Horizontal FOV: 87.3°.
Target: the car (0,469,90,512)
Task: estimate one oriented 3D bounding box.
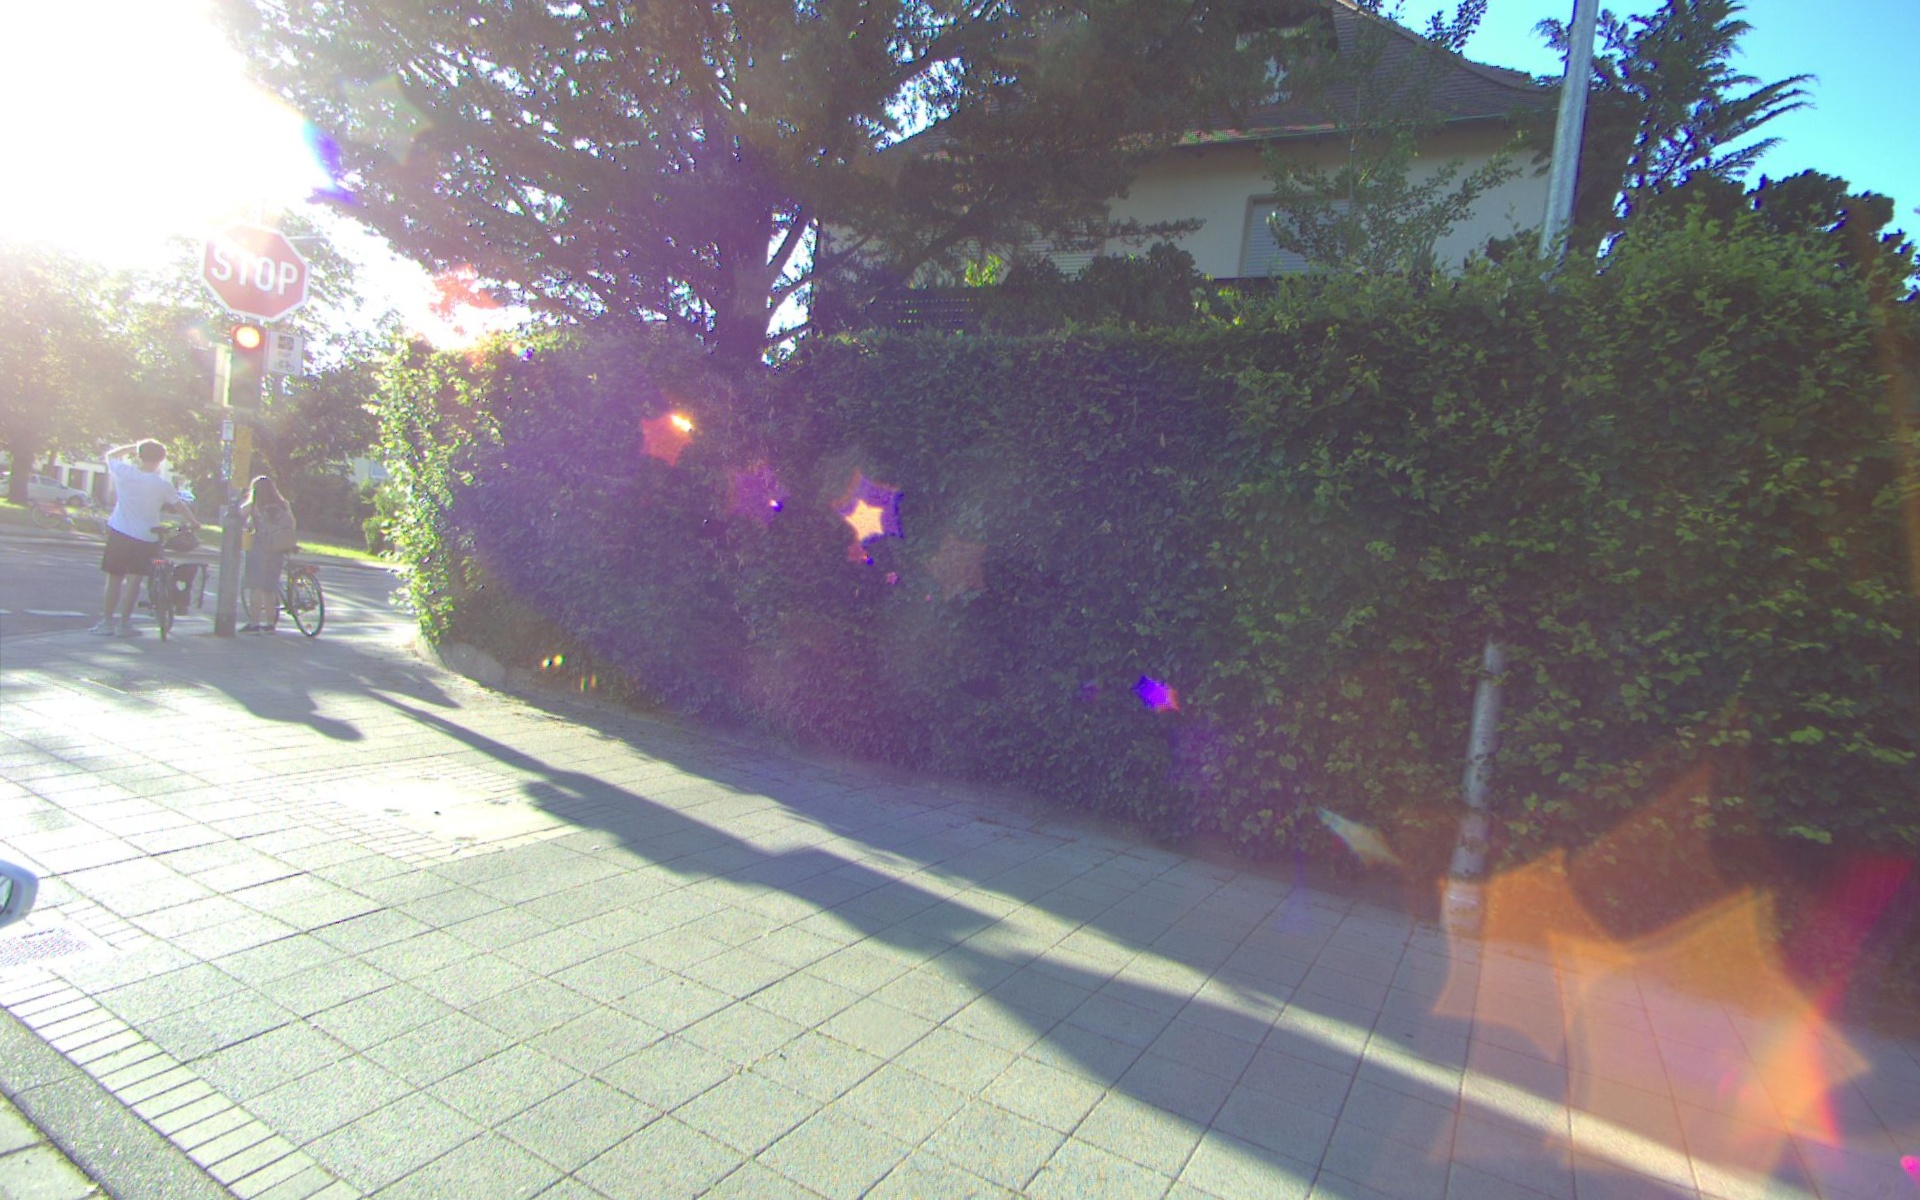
[{"bbox_3d":[-46.431,-5.494,50.389,1.497,1.542,3.933,6,-2,25],"label":"car"}]

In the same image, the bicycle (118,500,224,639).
[{"bbox_3d":[-7.782,-0.330,9.990,0.569,1.198,1.888,8,-1,-34],"label":"bicycle"}]

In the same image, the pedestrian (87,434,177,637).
[{"bbox_3d":[-8.127,-0.619,9.884,0.624,1.893,0.765,2,5,-40],"label":"pedestrian"}]

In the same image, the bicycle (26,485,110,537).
[{"bbox_3d":[-23.259,-2.315,26.247,0.460,1.103,1.520,8,1,40],"label":"bicycle"}]

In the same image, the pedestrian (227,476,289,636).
[{"bbox_3d":[-7.339,-0.452,10.517,0.347,1.604,0.458,8,-1,-37],"label":"pedestrian"}]
